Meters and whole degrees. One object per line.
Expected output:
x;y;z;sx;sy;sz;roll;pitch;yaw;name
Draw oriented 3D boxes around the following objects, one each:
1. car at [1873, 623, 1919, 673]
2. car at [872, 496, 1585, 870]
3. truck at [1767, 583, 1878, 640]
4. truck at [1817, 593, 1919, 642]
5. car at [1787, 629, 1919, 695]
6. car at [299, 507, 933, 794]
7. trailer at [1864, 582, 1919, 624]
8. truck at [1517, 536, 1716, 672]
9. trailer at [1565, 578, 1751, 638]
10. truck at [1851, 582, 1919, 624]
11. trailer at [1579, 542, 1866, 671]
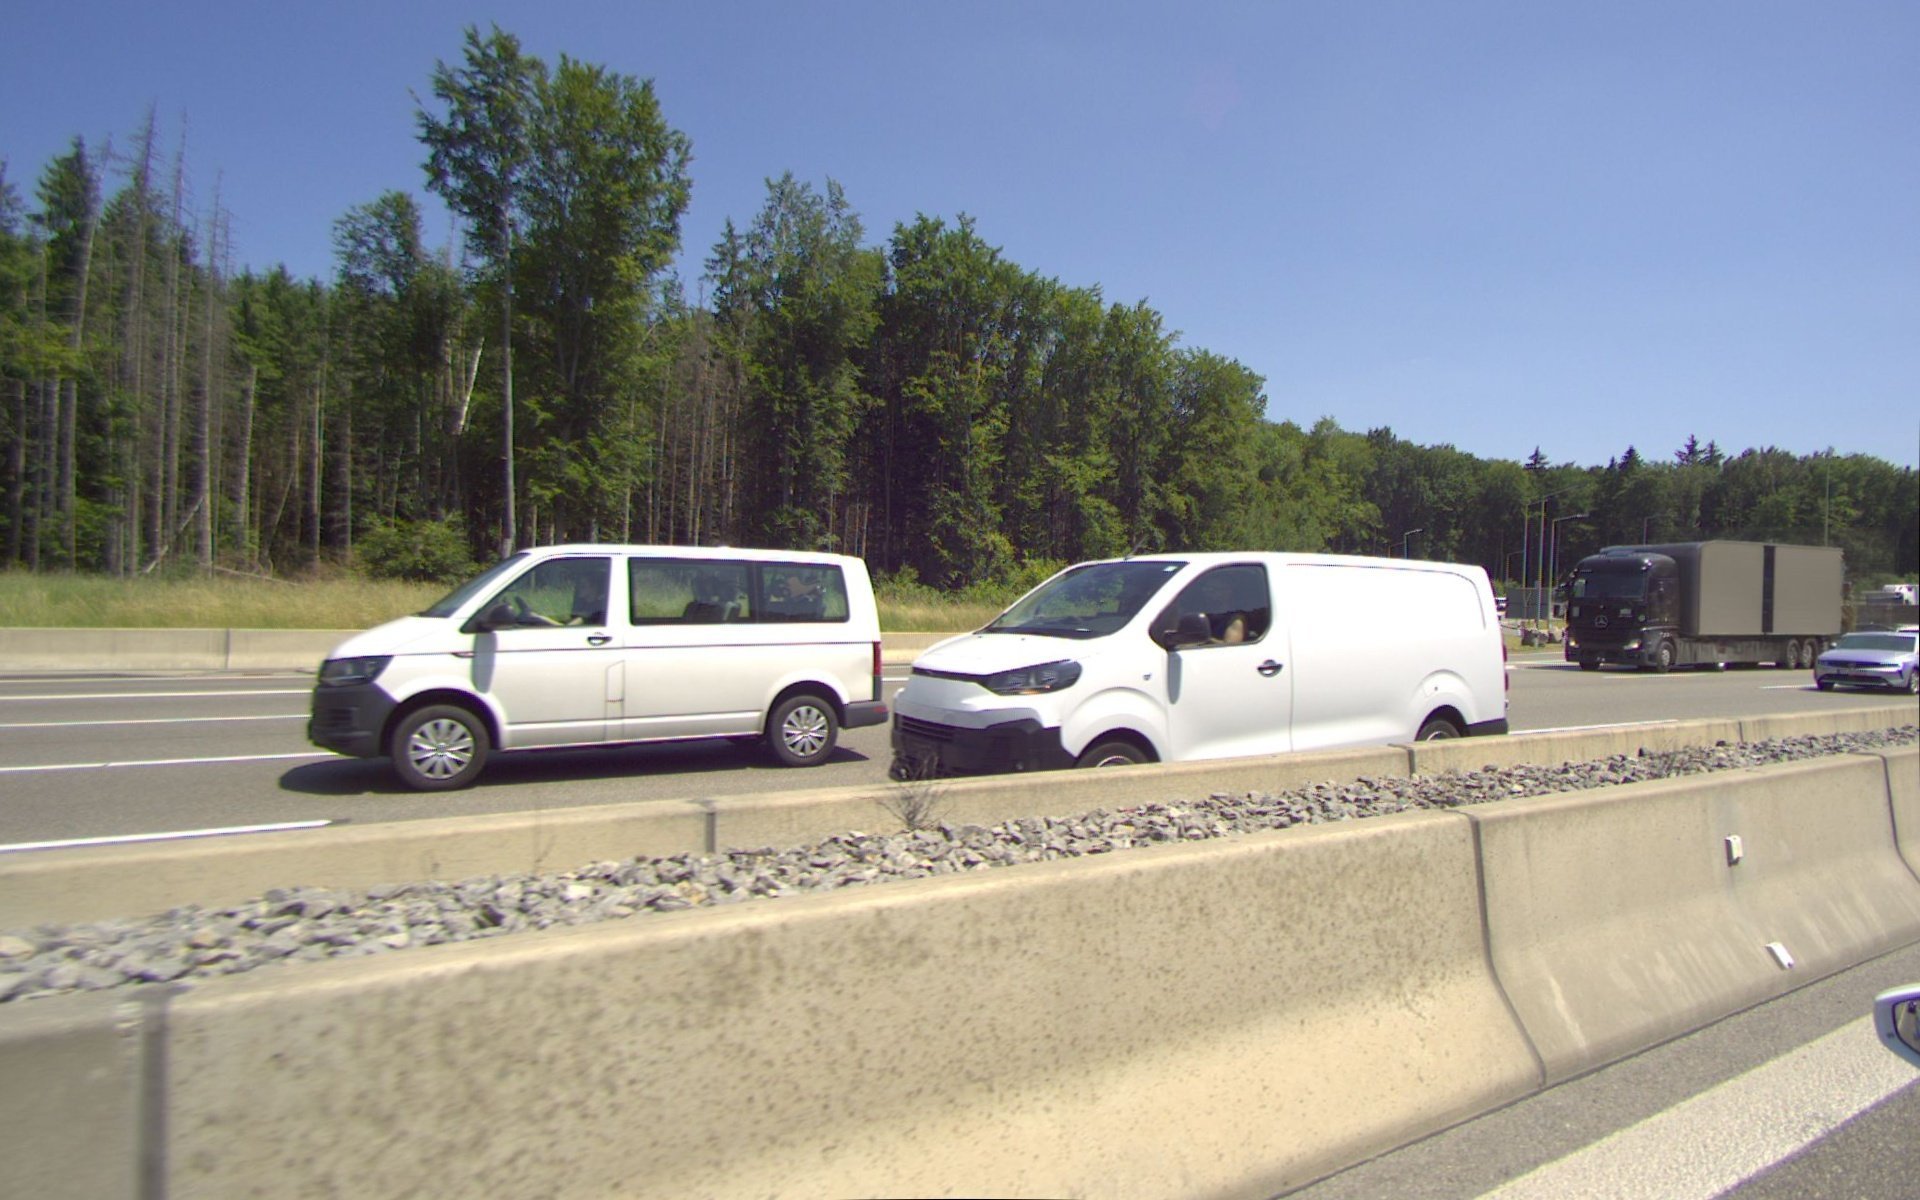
35.052;1.732;36.151;4.559;1.692;1.984;2;0;-31;car
2.308;0.520;7.913;5.645;2.071;2.067;2;0;-31;car
92.246;1.198;107.569;8.317;5.688;3.230;2;1;14;truck
115.813;2.204;123.136;16.373;5.688;3.452;2;1;15;truck
22.505;1.481;24.521;4.951;1.395;1.984;2;0;-30;car
-2.956;0.418;9.268;5.069;2.040;1.984;2;0;-30;car
80.394;0.375;84.021;14.442;3.165;2.957;2;0;-31;trailer
21.150;0.167;32.363;5.475;3.983;3.271;1;0;-31;truck
66.427;0.681;96.039;14.272;5.140;3.131;2;1;14;trailer
74.342;0.228;80.280;6.131;3.165;2.912;2;0;-31;truck
28.115;0.357;36.621;14.115;4.054;3.325;2;0;-31;trailer
